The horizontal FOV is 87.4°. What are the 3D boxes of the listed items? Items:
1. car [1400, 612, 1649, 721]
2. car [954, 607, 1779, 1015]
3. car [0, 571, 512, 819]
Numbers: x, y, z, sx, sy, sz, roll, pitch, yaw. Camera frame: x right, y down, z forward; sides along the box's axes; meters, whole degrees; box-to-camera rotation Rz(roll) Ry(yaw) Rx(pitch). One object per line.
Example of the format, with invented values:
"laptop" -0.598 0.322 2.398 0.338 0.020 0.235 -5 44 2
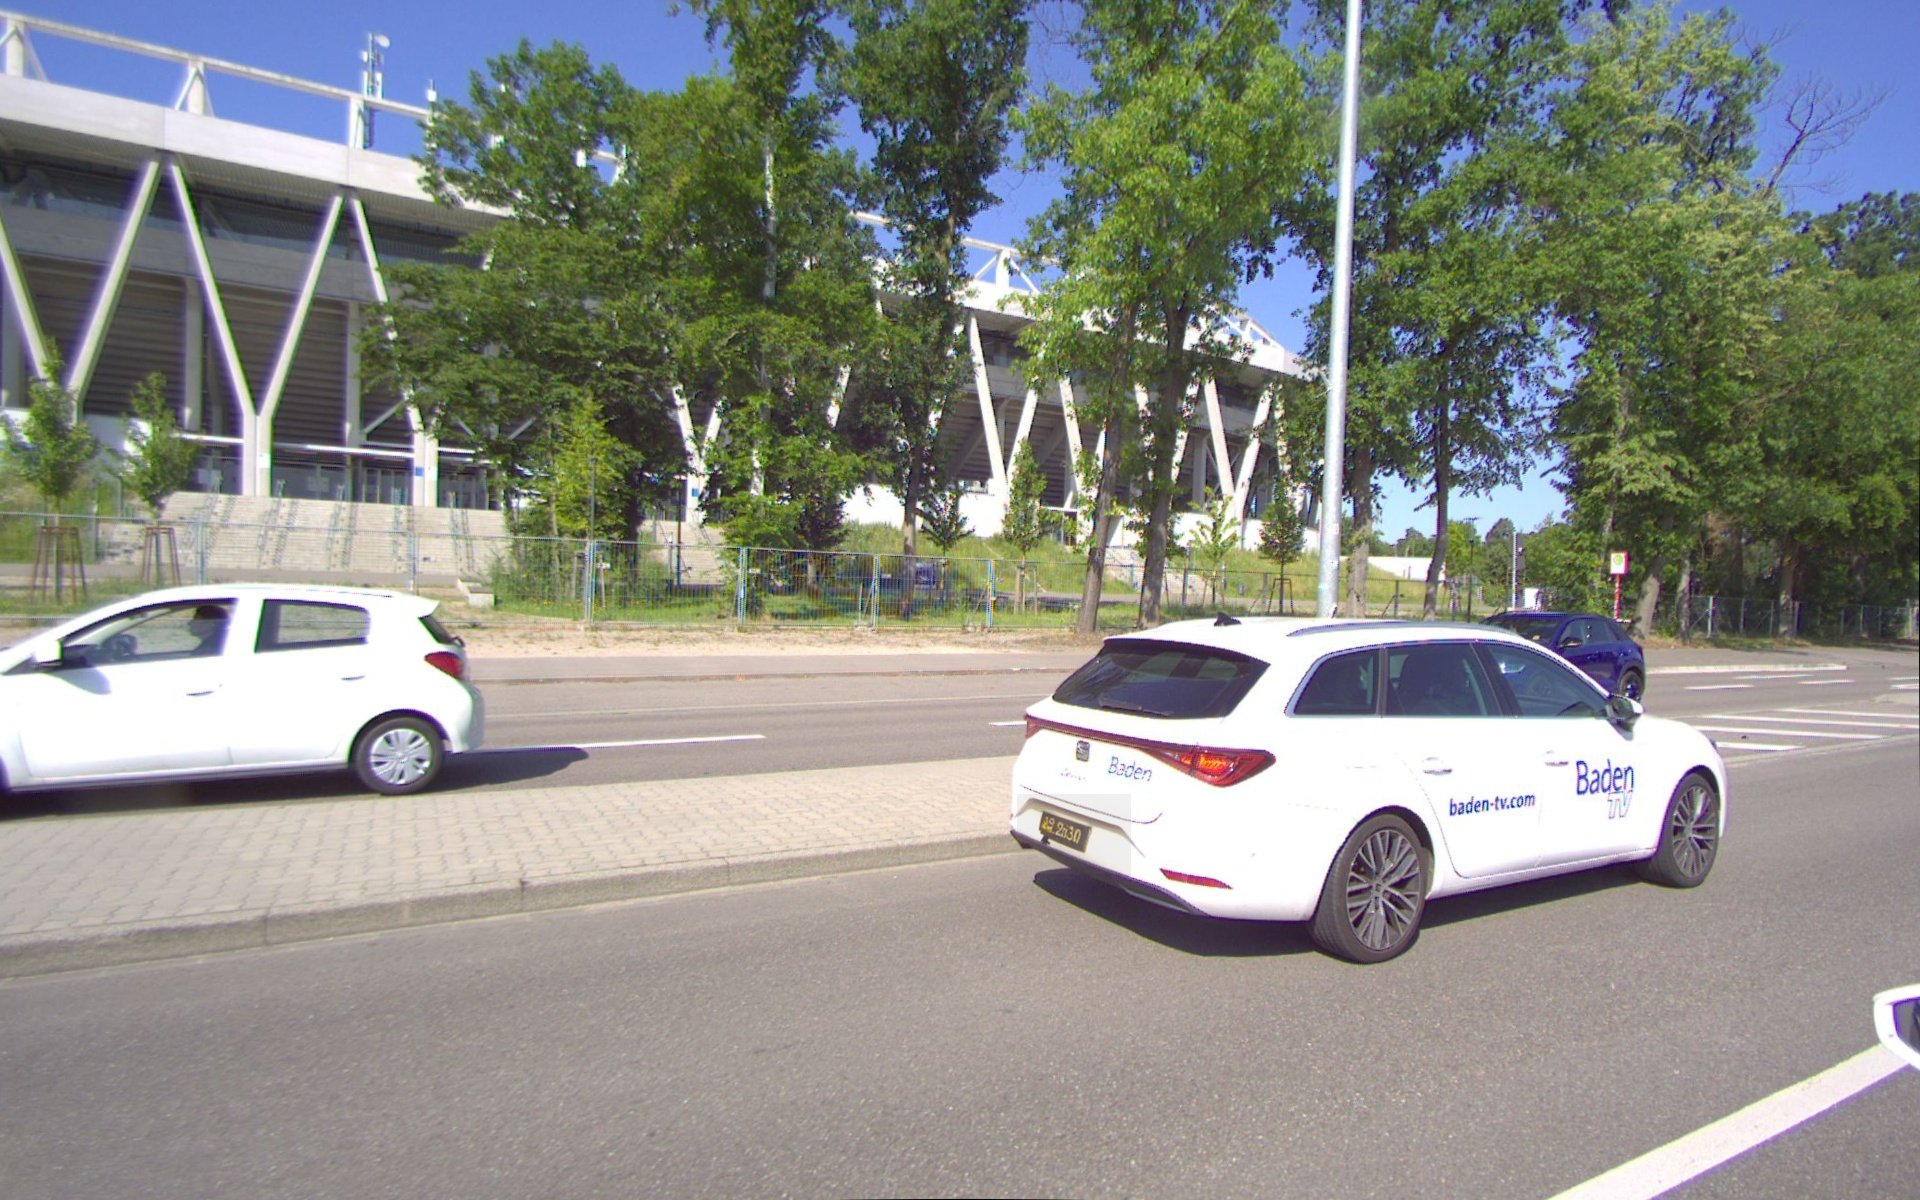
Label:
"car" 8.895 0.972 15.766 3.903 1.506 1.744 1 -1 -32
"car" 2.415 0.807 5.543 4.664 1.446 1.717 1 0 -30
"car" -5.356 0.596 7.208 3.756 1.486 1.615 1 -1 -30
